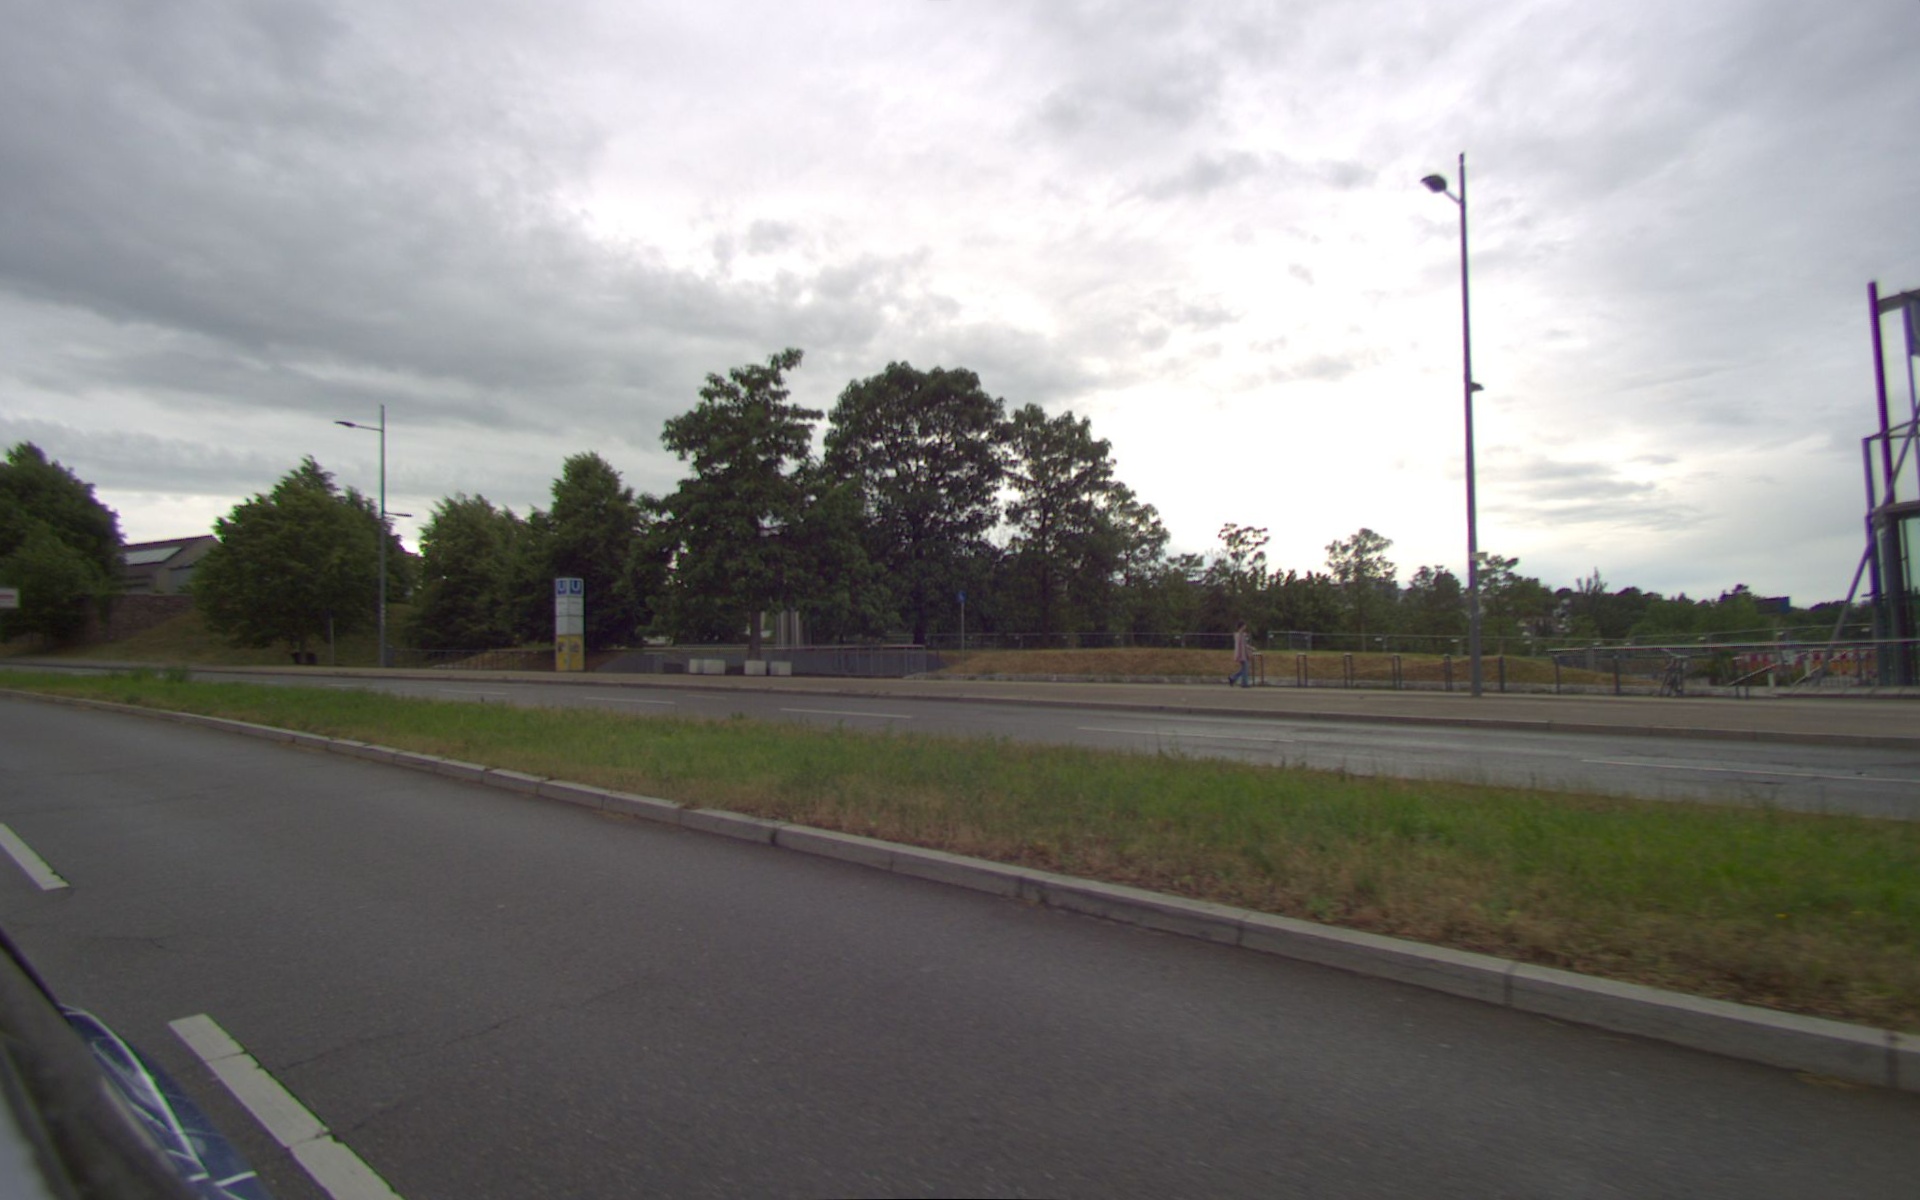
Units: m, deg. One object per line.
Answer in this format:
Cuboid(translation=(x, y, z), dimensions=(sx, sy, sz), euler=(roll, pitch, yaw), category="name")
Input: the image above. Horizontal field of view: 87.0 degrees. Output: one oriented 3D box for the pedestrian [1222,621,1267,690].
Cuboid(translation=(6.805, 1.321, 24.209), dimensions=(0.811, 1.606, 0.608), euler=(-5, -4, 36), category="pedestrian")
